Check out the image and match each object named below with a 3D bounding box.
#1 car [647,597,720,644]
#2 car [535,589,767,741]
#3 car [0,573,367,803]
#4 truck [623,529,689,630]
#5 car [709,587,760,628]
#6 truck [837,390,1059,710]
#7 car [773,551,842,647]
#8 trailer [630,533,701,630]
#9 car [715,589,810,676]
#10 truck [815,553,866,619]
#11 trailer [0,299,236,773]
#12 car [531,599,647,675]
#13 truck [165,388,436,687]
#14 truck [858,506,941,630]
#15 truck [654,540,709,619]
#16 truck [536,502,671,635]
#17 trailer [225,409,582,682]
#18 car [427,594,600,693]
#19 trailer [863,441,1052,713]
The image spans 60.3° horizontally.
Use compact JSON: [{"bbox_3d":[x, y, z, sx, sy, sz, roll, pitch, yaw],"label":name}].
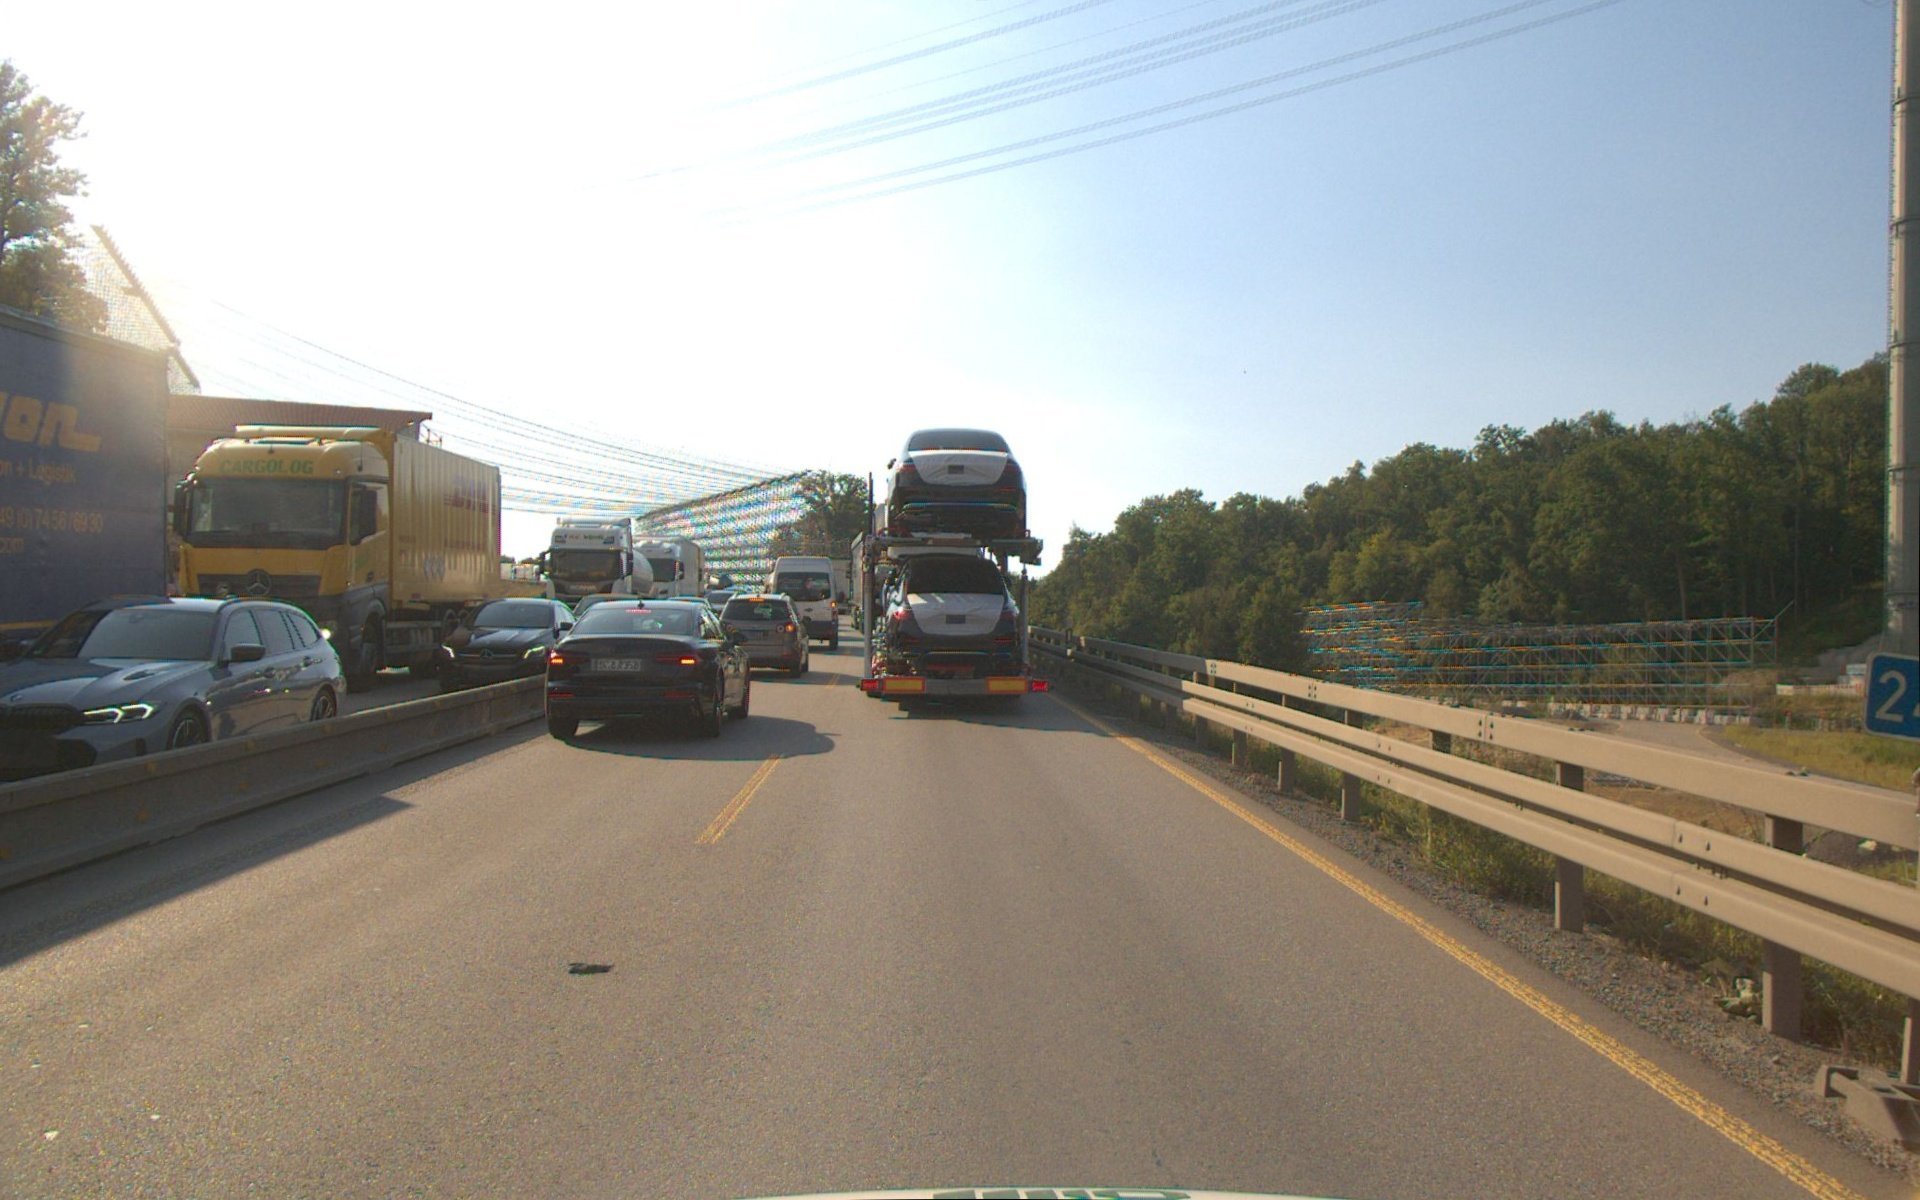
[{"bbox_3d":[-8.676,0.658,52.252,1.705,1.427,4.899,0,-1,-3],"label":"car"},{"bbox_3d":[-3.437,0.688,19.379,1.901,1.506,5.219,-1,-1,-2],"label":"car"},{"bbox_3d":[-6.466,0.626,13.359,1.752,1.524,4.723,0,-1,-1],"label":"car"},{"bbox_3d":[-13.602,-0.821,74.384,2.396,4.347,6.314,0,-1,-6],"label":"truck"},{"bbox_3d":[-9.689,0.336,71.344,1.809,1.676,4.556,-1,-1,-3],"label":"car"},{"bbox_3d":[-0.123,-0.591,23.898,2.811,4.050,5.771,0,-1,1],"label":"truck"},{"bbox_3d":[-4.461,0.000,48.930,1.940,2.731,4.143,0,-1,-4],"label":"car"},{"bbox_3d":[-14.139,-0.716,80.189,2.405,4.340,12.130,0,-1,-5],"label":"trailer"},{"bbox_3d":[-3.884,0.637,33.086,1.667,1.615,4.143,0,-1,-4],"label":"car"},{"bbox_3d":[-8.957,-1.035,125.294,3.575,4.758,11.688,0,0,-3],"label":"truck"},{"bbox_3d":[-9.768,-0.619,11.365,2.660,4.207,16.745,0,-1,-2],"label":"trailer"},{"bbox_3d":[-7.937,0.778,35.727,1.682,1.534,4.289,0,-1,-2],"label":"car"},{"bbox_3d":[-10.131,-0.859,25.886,2.640,4.271,4.395,0,-1,-3],"label":"truck"},{"bbox_3d":[-2.612,-1.280,69.504,3.164,4.758,11.688,0,0,-3],"label":"truck"},{"bbox_3d":[-15.870,-1.110,94.620,2.839,4.347,5.761,0,-1,-7],"label":"truck"},{"bbox_3d":[-12.283,-0.850,58.311,2.754,4.039,13.878,2,-1,-5],"label":"truck"},{"bbox_3d":[-10.529,-0.725,33.898,2.647,4.278,15.987,0,-1,-3],"label":"trailer"},{"bbox_3d":[-7.229,0.697,27.233,1.761,1.478,4.613,0,-1,-3],"label":"car"},{"bbox_3d":[-0.413,-0.223,32.465,2.817,4.064,15.269,0,-1,-3],"label":"trailer"}]
